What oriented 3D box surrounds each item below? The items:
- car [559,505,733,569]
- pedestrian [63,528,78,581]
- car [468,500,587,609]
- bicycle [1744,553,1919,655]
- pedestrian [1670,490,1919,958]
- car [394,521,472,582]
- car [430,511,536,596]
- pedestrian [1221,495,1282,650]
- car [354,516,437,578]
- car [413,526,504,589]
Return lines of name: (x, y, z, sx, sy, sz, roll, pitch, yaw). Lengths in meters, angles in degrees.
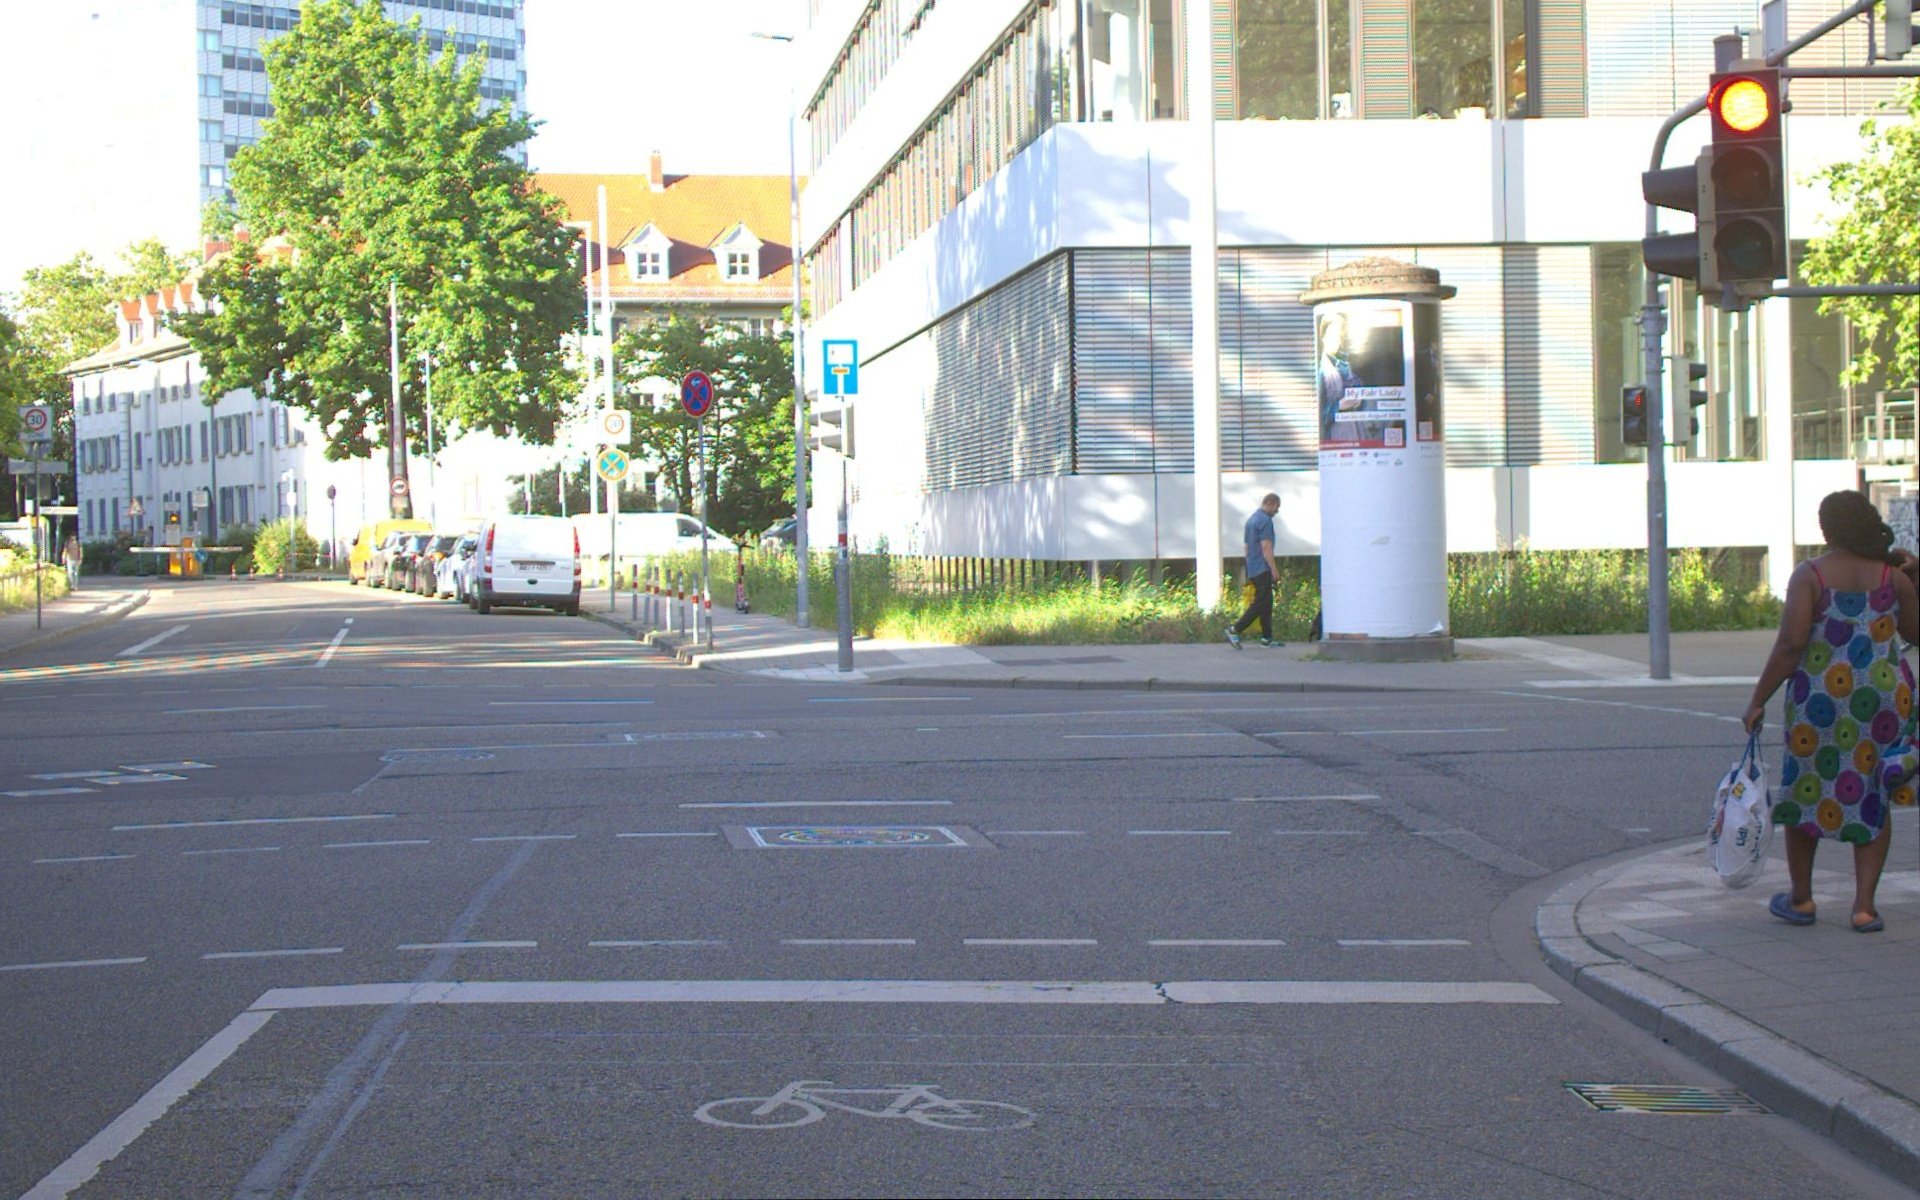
car: (-9.409, -1.878, 102.820, 4.880, 1.865, 2.001, 0, 0, -17)
pedestrian: (-25.901, -1.332, 100.084, 0.380, 1.529, 0.446, -1, 1, -12)
car: (-8.166, -0.874, 64.663, 2.066, 1.956, 4.239, -1, 1, -9)
bicycle: (9.181, 0.035, 36.139, 0.463, 1.045, 1.914, -2, 2, -42)
pedestrian: (3.160, 0.417, 12.311, 0.954, 1.568, 0.750, -4, 1, -2)
car: (-13.188, -1.228, 85.858, 1.703, 1.459, 4.239, -1, 1, -11)
car: (-10.642, -1.050, 76.461, 1.946, 1.789, 4.239, -1, 1, -13)
pedestrian: (3.292, -0.316, 38.827, 0.652, 1.730, 0.812, -1, 1, 4)
car: (-15.735, -1.481, 95.679, 2.100, 1.652, 4.477, -1, 1, -11)
car: (-11.888, -1.027, 81.351, 1.703, 1.419, 4.239, -1, 1, -14)
